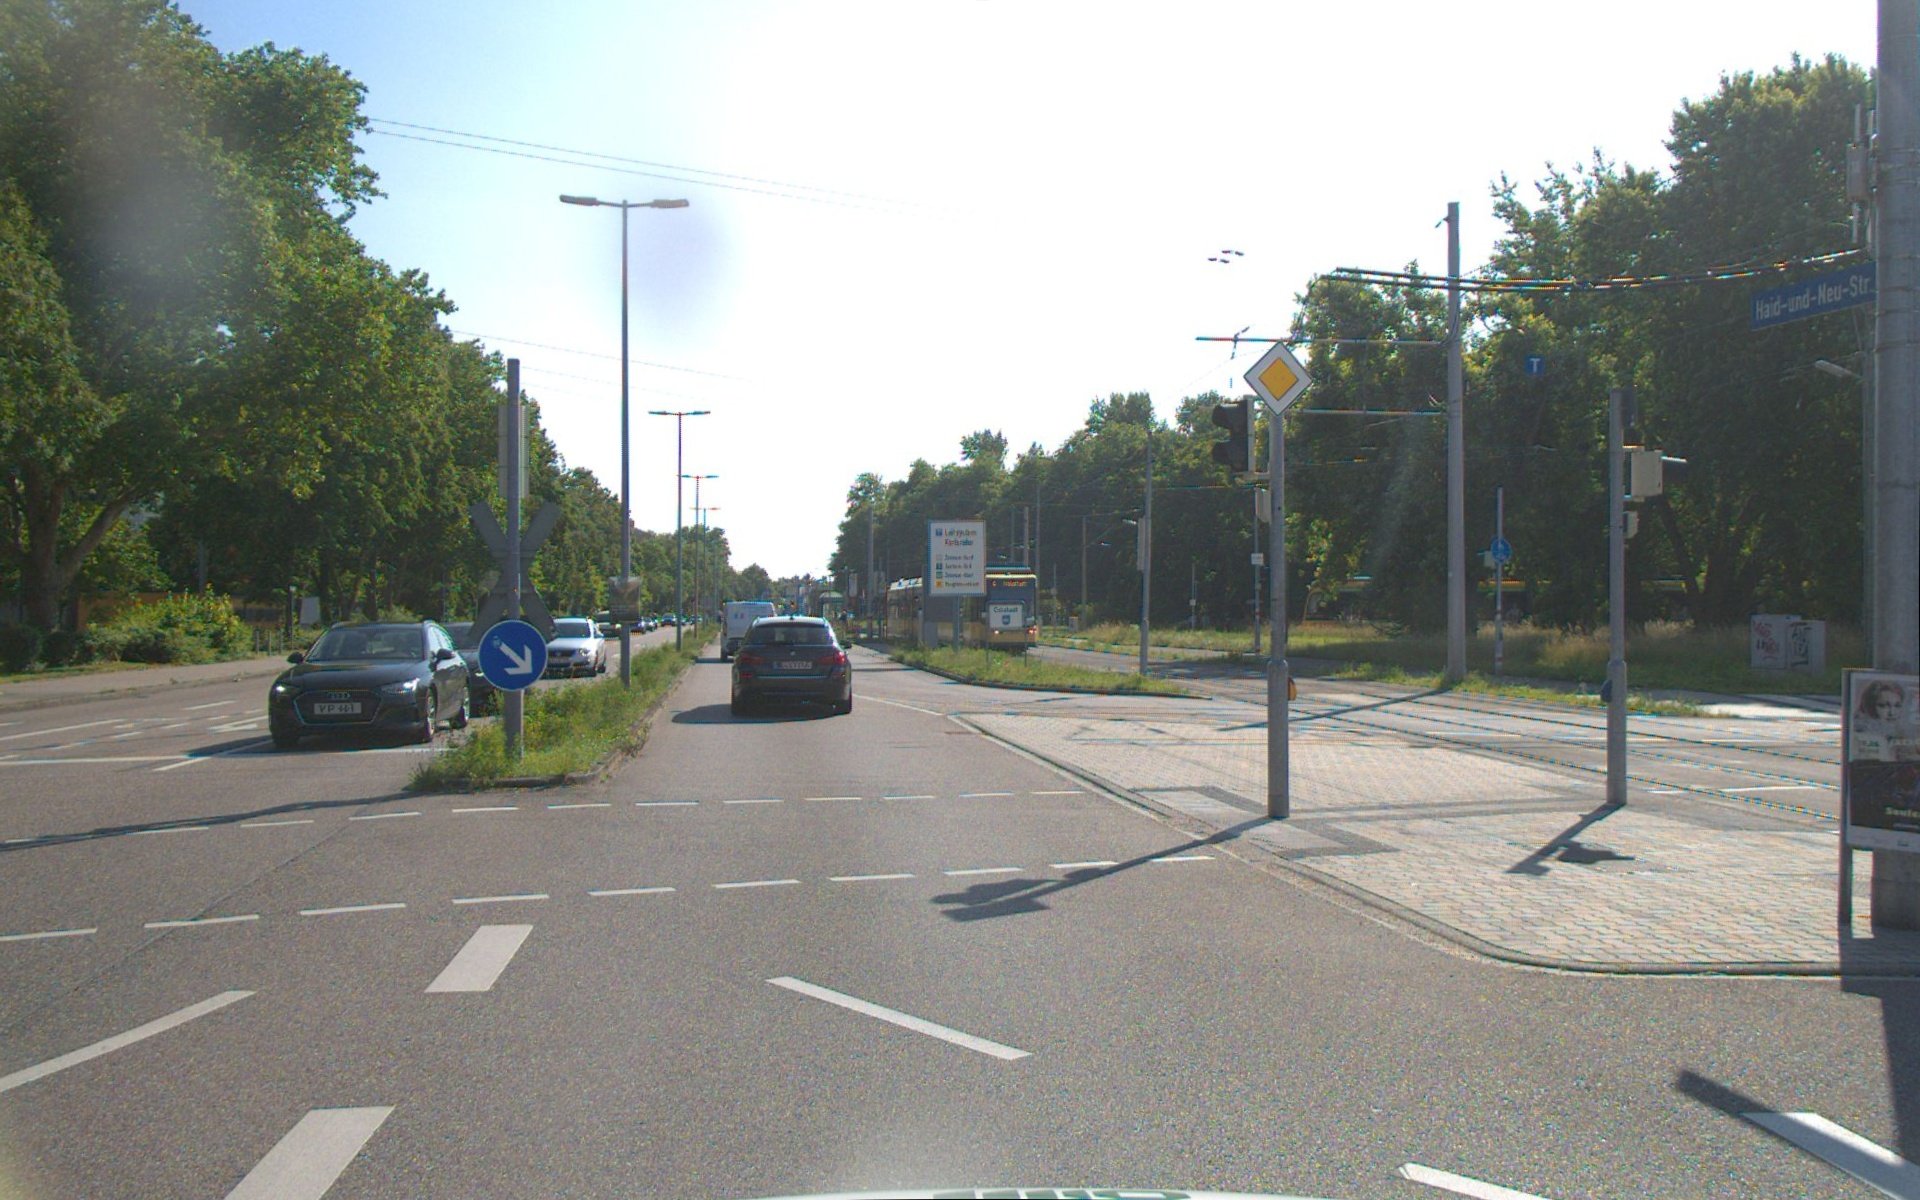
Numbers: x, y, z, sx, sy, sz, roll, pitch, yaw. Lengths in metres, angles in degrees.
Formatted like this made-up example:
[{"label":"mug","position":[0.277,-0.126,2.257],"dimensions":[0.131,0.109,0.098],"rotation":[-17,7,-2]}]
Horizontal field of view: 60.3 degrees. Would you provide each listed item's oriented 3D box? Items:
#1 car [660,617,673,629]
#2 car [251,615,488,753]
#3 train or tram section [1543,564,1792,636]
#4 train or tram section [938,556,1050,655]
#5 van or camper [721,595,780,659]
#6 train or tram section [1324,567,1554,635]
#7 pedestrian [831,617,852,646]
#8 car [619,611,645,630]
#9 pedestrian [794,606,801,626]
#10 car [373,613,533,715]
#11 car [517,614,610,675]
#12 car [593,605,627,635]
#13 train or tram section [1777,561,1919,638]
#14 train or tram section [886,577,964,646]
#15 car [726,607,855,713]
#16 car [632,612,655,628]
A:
[{"label":"car","position":[-37.033,2.882,208.653],"dimensions":[1.505,1.512,3.992],"rotation":[1,-1,-8]},{"label":"car","position":[-7.230,0.950,20.747],"dimensions":[1.794,1.456,4.723],"rotation":[-1,0,-7]},{"label":"train or tram section","position":[37.336,0.060,87.557],"dimensions":[11.953,3.642,3.050],"rotation":[0,-1,27]},{"label":"train or tram section","position":[1.196,0.315,67.930],"dimensions":[2.743,3.682,12.934],"rotation":[1,-1,-7]},{"label":"van or camper","position":[-7.337,0.910,57.712],"dimensions":[1.956,2.133,4.590],"rotation":[0,0,-8]},{"label":"train or tram section","position":[26.720,0.095,92.491],"dimensions":[12.145,3.642,3.054],"rotation":[0,-1,22]},{"label":"pedestrian","position":[-6.675,1.768,93.024],"dimensions":[0.978,1.663,0.721],"rotation":[0,-1,24]},{"label":"car","position":[-25.846,1.604,130.312],"dimensions":[1.755,1.440,4.378],"rotation":[0,0,-8]},{"label":"pedestrian","position":[-16.577,1.614,169.010],"dimensions":[0.686,2.049,0.701],"rotation":[0,-1,-9]},{"label":"car","position":[-8.071,0.962,26.693],"dimensions":[1.795,1.460,4.372],"rotation":[-1,0,-8]},{"label":"car","position":[-10.353,1.122,43.452],"dimensions":[1.813,1.503,4.639],"rotation":[0,0,-7]},{"label":"car","position":[-21.771,1.230,103.016],"dimensions":[1.755,1.803,4.561],"rotation":[0,0,-8]},{"label":"train or tram section","position":[46.230,-0.004,79.753],"dimensions":[3.028,3.642,12.040],"rotation":[0,-1,-42]},{"label":"train or tram section","position":[-2.151,0.739,92.848],"dimensions":[2.634,3.542,14.940],"rotation":[1,-1,-8]},{"label":"car","position":[-2.734,0.886,26.161],"dimensions":[1.867,1.532,4.058],"rotation":[0,0,-8]},{"label":"car","position":[-28.783,1.808,150.332],"dimensions":[1.755,1.351,4.729],"rotation":[0,0,-7]}]
